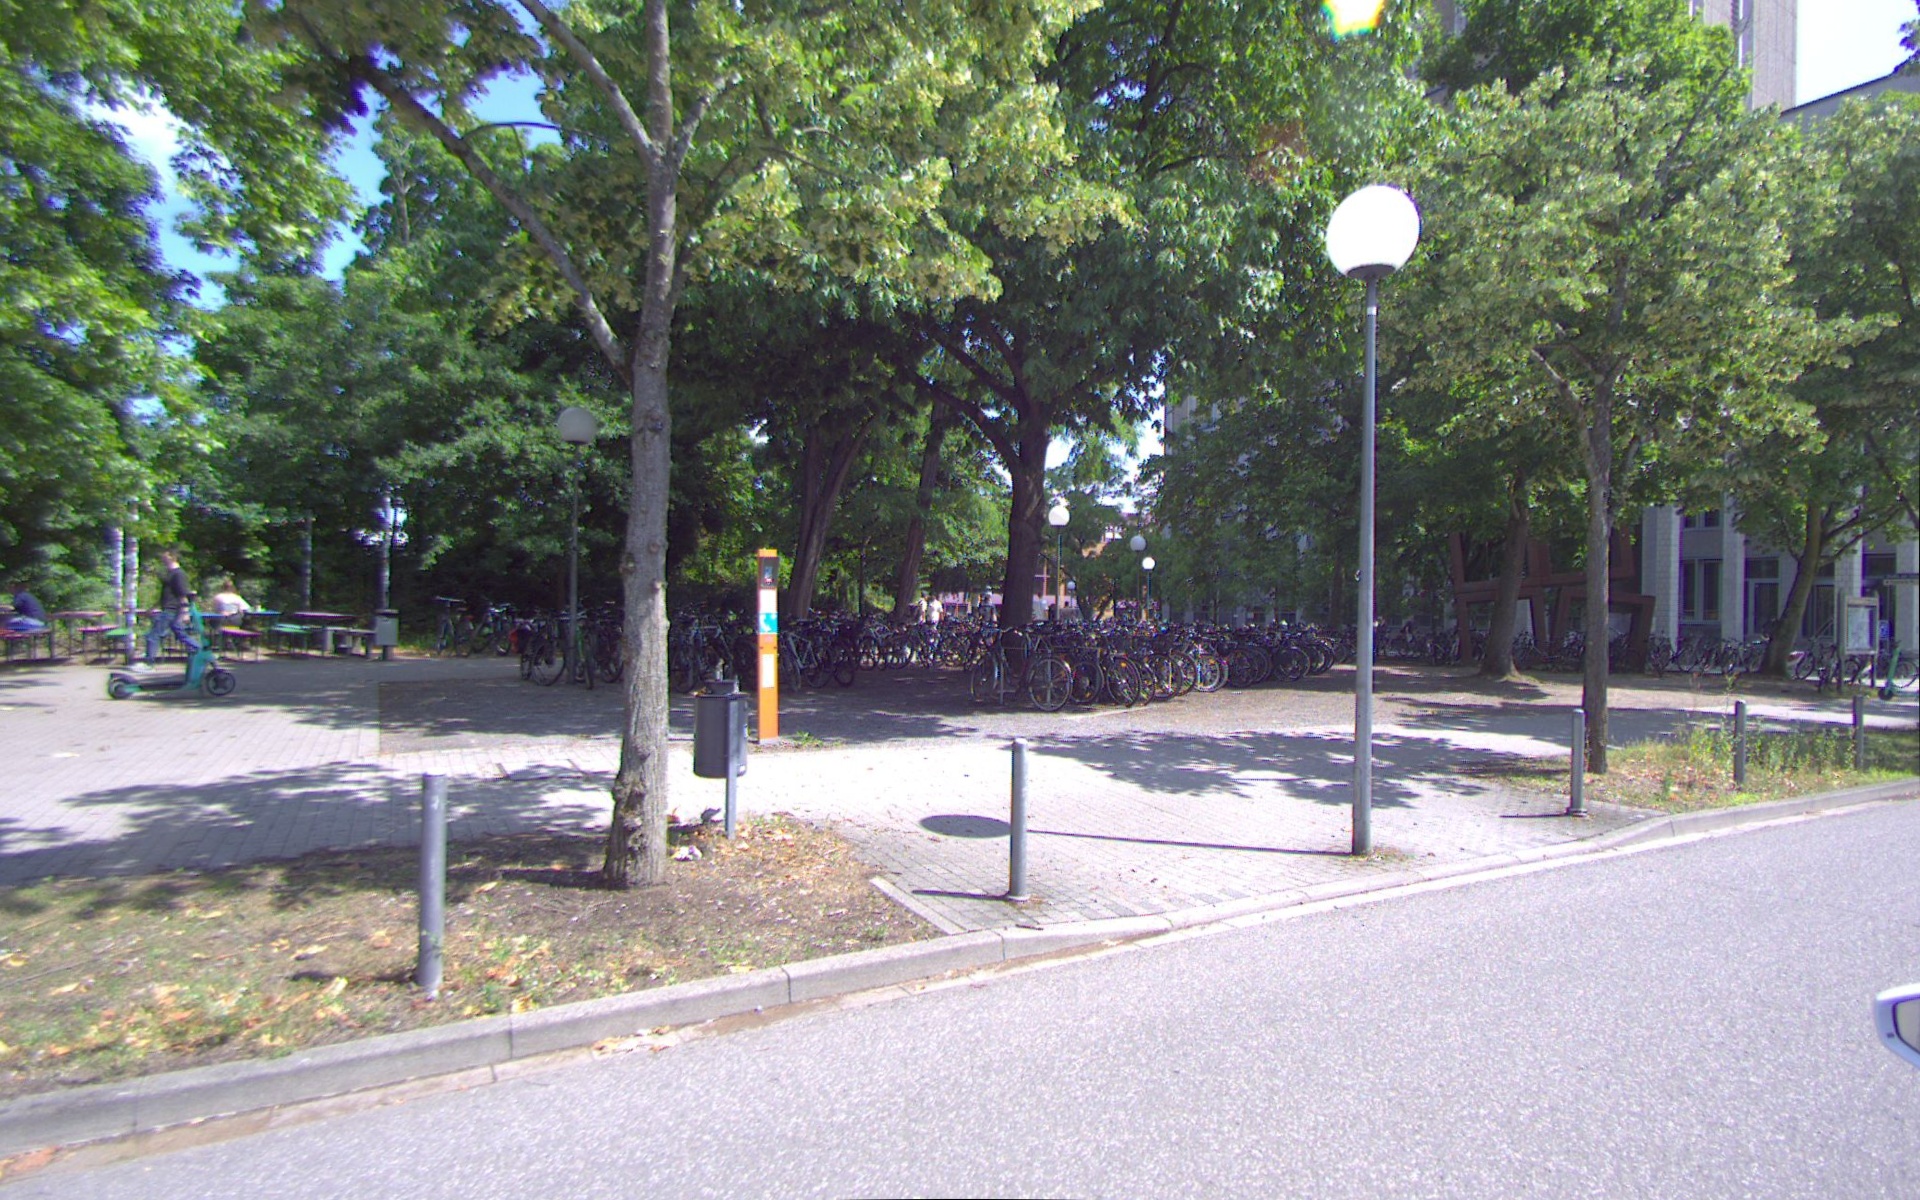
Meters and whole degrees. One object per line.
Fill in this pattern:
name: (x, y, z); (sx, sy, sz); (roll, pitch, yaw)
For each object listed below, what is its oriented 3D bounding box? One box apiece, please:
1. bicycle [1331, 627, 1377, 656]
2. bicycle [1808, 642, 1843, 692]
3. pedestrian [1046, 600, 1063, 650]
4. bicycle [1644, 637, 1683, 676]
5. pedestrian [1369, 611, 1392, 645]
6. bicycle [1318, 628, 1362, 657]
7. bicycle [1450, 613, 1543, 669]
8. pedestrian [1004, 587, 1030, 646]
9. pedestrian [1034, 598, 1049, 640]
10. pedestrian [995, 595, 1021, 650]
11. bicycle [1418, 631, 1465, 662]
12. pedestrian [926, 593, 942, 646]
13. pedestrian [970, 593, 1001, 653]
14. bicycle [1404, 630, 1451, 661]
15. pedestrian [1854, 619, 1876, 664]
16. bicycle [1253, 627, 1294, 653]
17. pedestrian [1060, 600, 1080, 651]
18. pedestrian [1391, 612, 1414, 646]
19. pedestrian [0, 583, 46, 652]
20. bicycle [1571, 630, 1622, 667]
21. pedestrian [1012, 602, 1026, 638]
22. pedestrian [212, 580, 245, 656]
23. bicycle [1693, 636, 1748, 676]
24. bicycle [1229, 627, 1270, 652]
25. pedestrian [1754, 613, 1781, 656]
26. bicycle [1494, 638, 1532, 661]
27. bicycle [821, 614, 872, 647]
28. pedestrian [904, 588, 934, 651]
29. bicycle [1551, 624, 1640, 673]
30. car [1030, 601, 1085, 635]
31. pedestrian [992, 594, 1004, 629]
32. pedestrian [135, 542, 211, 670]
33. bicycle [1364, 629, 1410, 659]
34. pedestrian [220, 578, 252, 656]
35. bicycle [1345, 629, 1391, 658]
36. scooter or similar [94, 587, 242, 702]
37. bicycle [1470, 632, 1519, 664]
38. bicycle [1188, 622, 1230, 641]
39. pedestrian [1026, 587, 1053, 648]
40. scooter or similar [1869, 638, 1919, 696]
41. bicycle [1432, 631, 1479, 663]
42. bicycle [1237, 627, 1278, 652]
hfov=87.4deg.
bicycle: (15.635, 1.665, 39.845); (1.950, 1.101, 0.549); (2, 1, -31)
bicycle: (19.041, 1.449, 22.091); (1.802, 1.039, 0.378); (2, 0, -43)
pedestrian: (3.864, 1.027, 41.176); (0.511, 2.040, 0.532); (1, 0, -15)
bicycle: (18.596, 1.477, 26.553); (1.644, 0.978, 0.471); (2, 0, -42)
pedestrian: (20.218, 1.333, 48.295); (0.590, 1.614, 0.824); (1, 0, -28)
bicycle: (15.323, 1.708, 40.478); (1.950, 1.101, 0.549); (2, 1, -31)
bicycle: (15.004, 1.135, 28.168); (2.248, 1.469, 0.606); (1, 0, 27)
pedestrian: (1.914, 0.547, 33.501); (0.610, 1.960, 0.681); (2, 0, 25)
pedestrian: (3.492, 0.811, 42.989); (0.405, 1.736, 0.544); (2, 0, 29)
pedestrian: (1.504, 0.693, 31.192); (0.545, 1.693, 0.693); (2, 0, 25)
bicycle: (17.863, 1.713, 37.250); (1.950, 1.101, 0.549); (2, 1, -31)
pedestrian: (-0.825, 0.619, 31.436); (0.452, 1.636, 0.351); (2, 0, -1)
pedestrian: (0.753, 0.653, 29.177); (0.620, 1.693, 0.730); (2, 0, 25)
bicycle: (17.631, 1.724, 37.870); (1.950, 1.101, 0.549); (2, 1, -31)
pedestrian: (29.113, 1.320, 32.299); (0.440, 1.402, 0.462); (-3, 1, -40)
bicycle: (13.826, 1.773, 44.316); (1.950, 1.101, 0.549); (2, 1, -31)
pedestrian: (4.506, 1.045, 41.122); (0.583, 2.040, 0.532); (1, 0, -15)
pedestrian: (21.093, 1.383, 47.875); (0.714, 1.561, 0.696); (2, 0, -40)
pedestrian: (-16.786, 0.305, 17.878); (0.724, 1.210, 0.388); (1, 0, -40)
bicycle: (18.948, 1.444, 29.899); (1.828, 1.046, 0.473); (2, 0, -30)
pedestrian: (2.537, 0.864, 43.145); (0.402, 1.547, 0.486); (2, 0, 29)
pedestrian: (-14.083, 0.339, 19.333); (0.456, 1.441, 0.501); (1, 1, -40)
bicycle: (22.234, 1.640, 29.355); (1.950, 1.101, 0.549); (2, 1, -31)
bicycle: (13.131, 1.784, 45.546); (1.950, 1.101, 0.549); (2, 1, -31)
pedestrian: (31.889, 1.362, 39.669); (0.623, 1.683, 0.694); (1, 0, 25)
bicycle: (23.720, 2.106, 43.075); (1.971, 0.959, 0.522); (2, -1, -32)
bicycle: (-3.385, 0.908, 29.944); (1.741, 0.906, 0.417); (2, 0, 41)
pedestrian: (-1.133, 0.536, 27.885); (0.567, 1.693, 0.630); (2, 0, 25)
bicycle: (17.089, 1.289, 27.055); (1.984, 1.270, 0.586); (0, -1, 28)
car: (8.467, 1.545, 86.885); (4.583, 2.813, 1.980); (0, 1, -36)
pedestrian: (2.245, 0.675, 58.981); (0.511, 2.040, 0.532); (1, 0, -15)
pedestrian: (-11.807, 0.089, 15.097); (0.796, 1.873, 0.527); (1, 0, -30)
bicycle: (16.414, 1.692, 38.594); (1.950, 1.101, 0.549); (2, 1, -31)
pedestrian: (-14.467, 0.337, 20.070); (0.470, 1.543, 0.501); (1, 1, -41)
bicycle: (15.983, 1.698, 39.320); (1.950, 1.101, 0.549); (2, 1, -31)
scooter or similar: (-9.148, 0.497, 11.659); (1.227, 1.263, 0.695); (2, 0, -31)
bicycle: (18.784, 1.688, 35.310); (1.950, 1.101, 0.549); (2, 1, -31)
bicycle: (11.776, 1.498, 47.465); (2.258, 0.887, 0.417); (2, 0, -31)
pedestrian: (2.629, 0.578, 33.165); (0.635, 1.960, 0.696); (2, 0, 25)
scooter or similar: (20.042, 1.422, 21.190); (1.301, 1.191, 0.340); (2, 0, 5)
bicycle: (18.068, 1.700, 36.606); (1.950, 1.101, 0.549); (2, 1, -31)
bicycle: (13.244, 1.759, 44.710); (1.950, 1.101, 0.549); (2, 1, -31)
